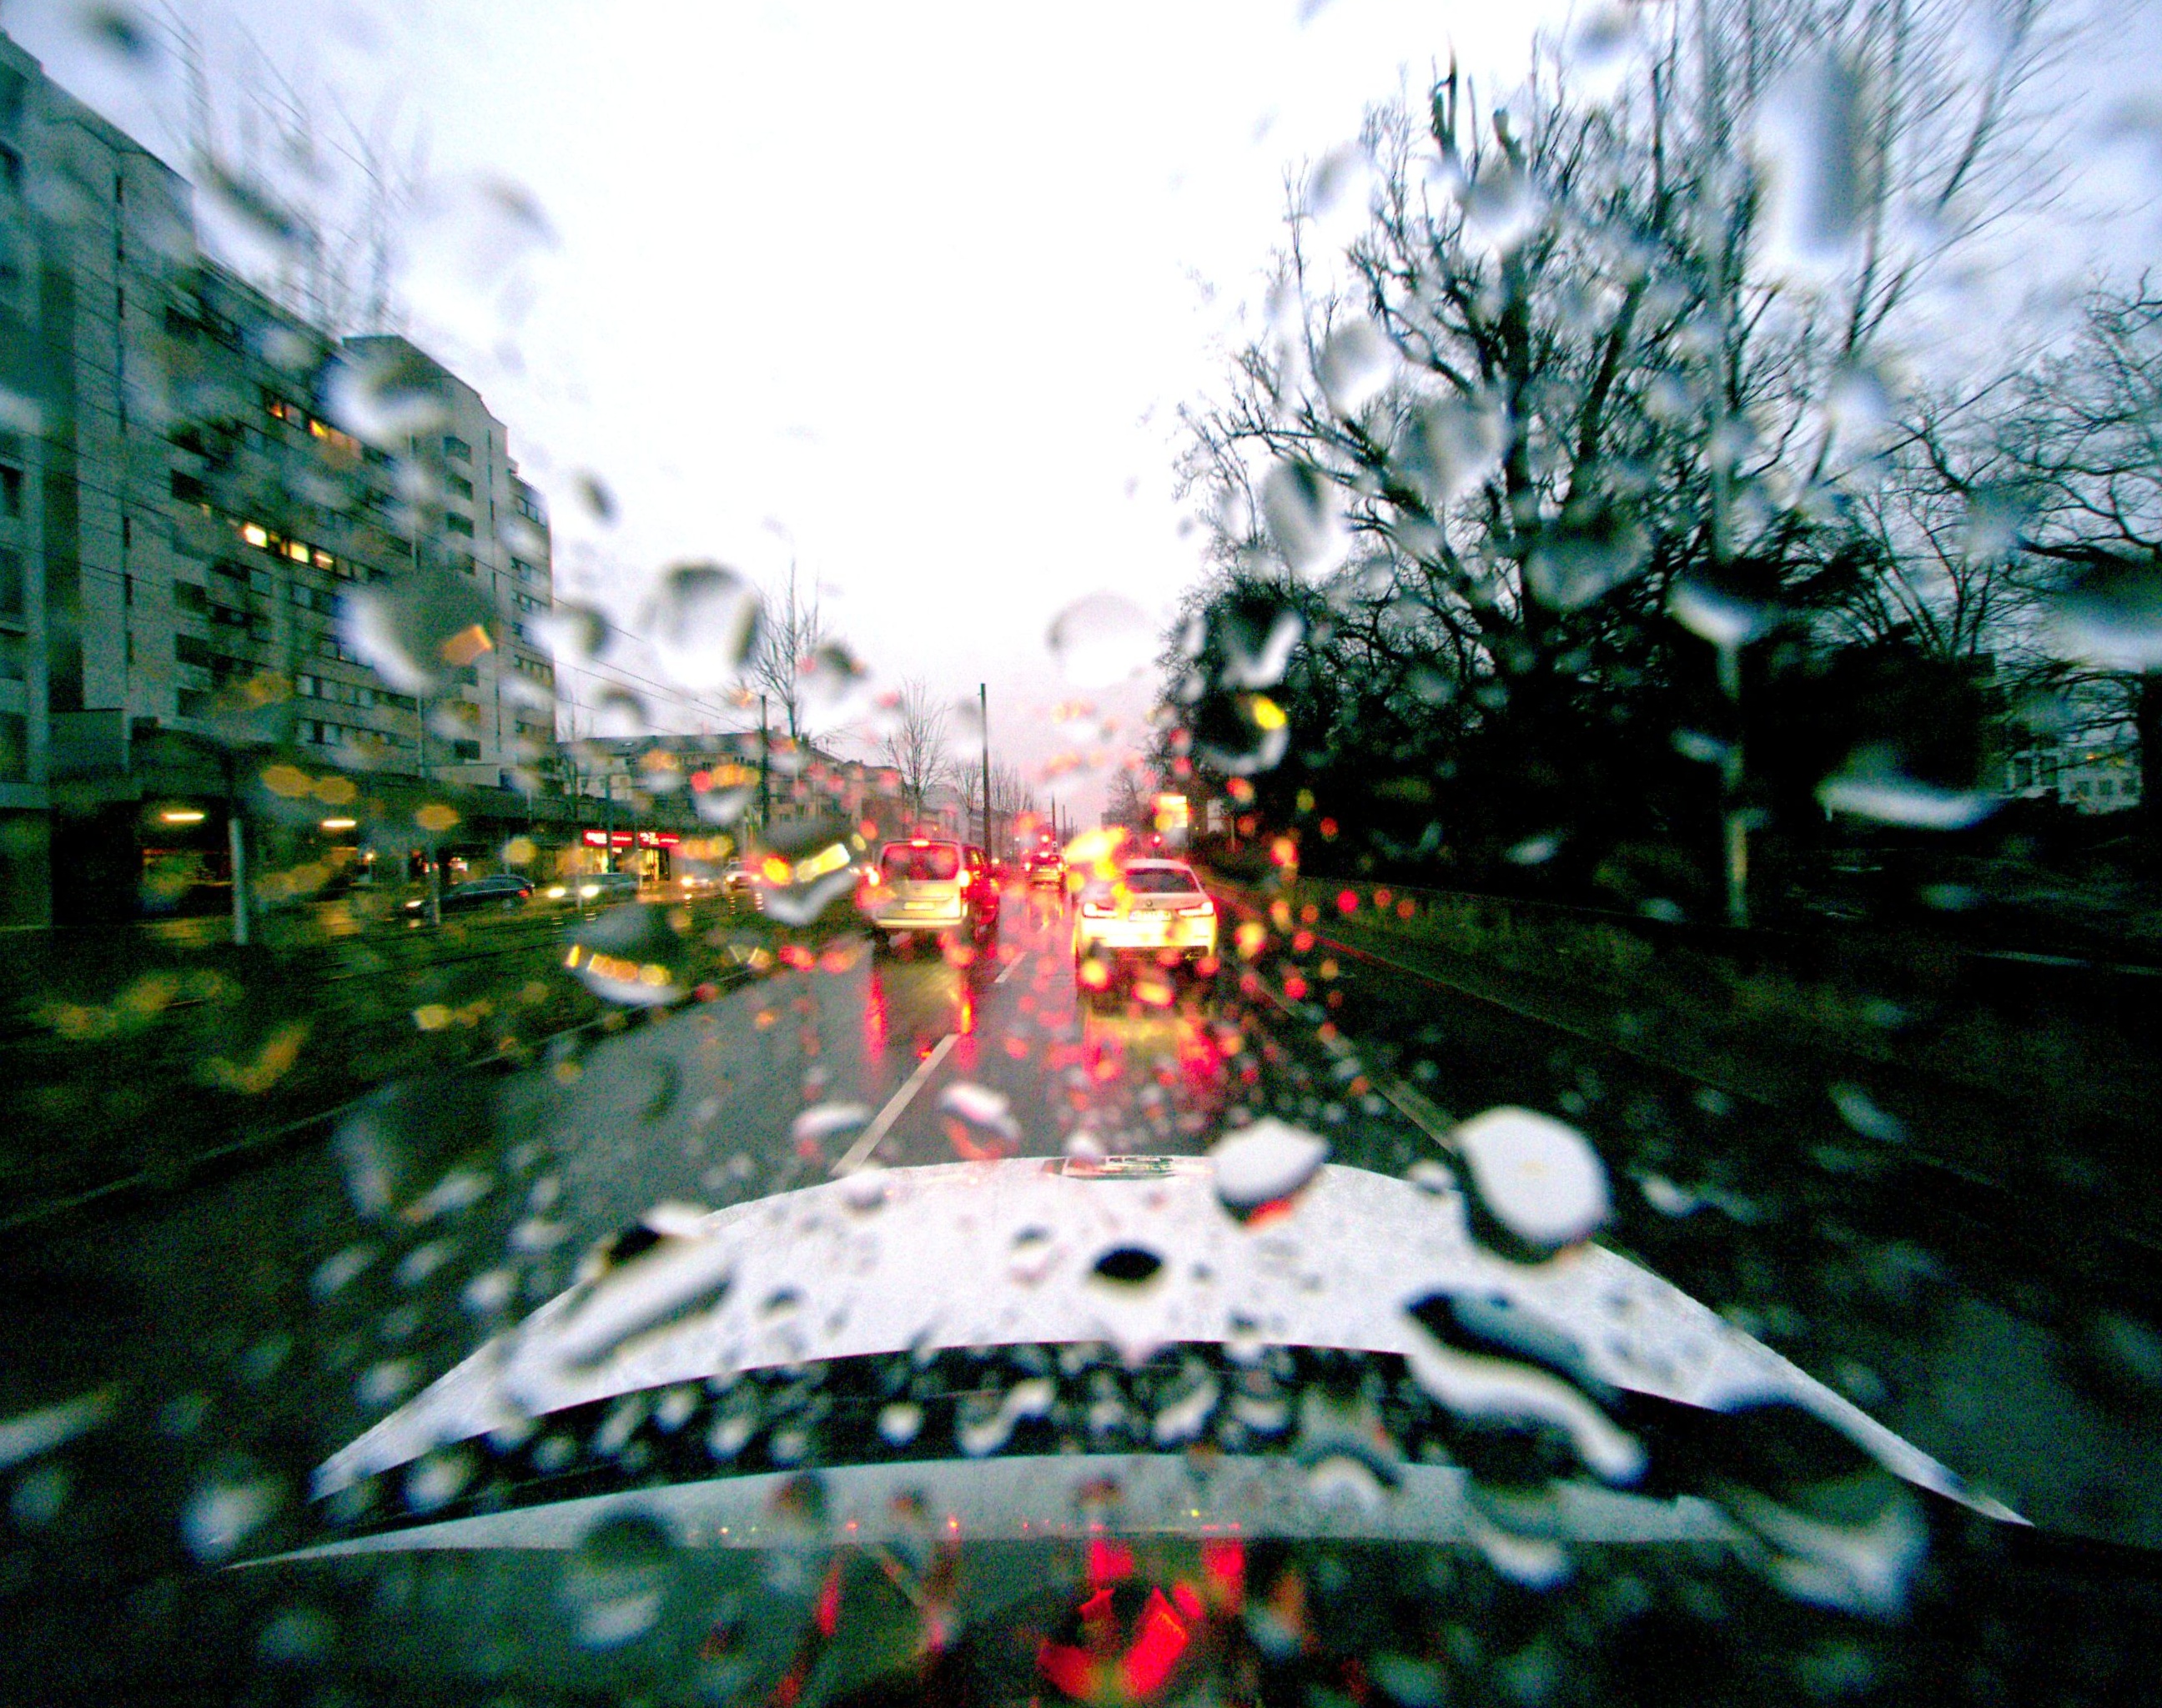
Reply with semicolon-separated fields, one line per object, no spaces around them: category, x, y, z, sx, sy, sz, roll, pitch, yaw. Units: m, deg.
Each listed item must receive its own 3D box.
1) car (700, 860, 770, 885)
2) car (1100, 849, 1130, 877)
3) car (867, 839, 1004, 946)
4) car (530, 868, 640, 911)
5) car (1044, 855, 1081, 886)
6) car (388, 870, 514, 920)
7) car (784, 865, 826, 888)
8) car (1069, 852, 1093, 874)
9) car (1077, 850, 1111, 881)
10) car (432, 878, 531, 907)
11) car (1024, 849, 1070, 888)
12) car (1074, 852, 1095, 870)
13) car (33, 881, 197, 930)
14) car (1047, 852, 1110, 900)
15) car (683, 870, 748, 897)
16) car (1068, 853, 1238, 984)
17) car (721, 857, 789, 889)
car;-30.017;1.586;70.821;5.193;1.912;1.975;-2;0;-44
car;2.107;0.551;50.868;1.800;1.646;4.002;-1;0;2
car;-2.580;0.632;15.521;1.787;1.736;4.536;0;0;0
car;-19.185;1.342;31.710;1.889;1.431;3.707;-2;0;1
car;-1.073;0.930;48.095;1.986;1.755;4.001;0;0;1
car;-27.121;1.731;35.175;1.706;1.885;3.951;-2;0;36
car;-23.810;1.882;70.344;1.889;1.813;4.532;-2;0;2
car;0.009;0.702;65.738;1.800;1.646;4.002;-1;0;2
car;0.748;0.610;45.436;1.800;1.646;4.002;-1;0;2
car;-30.936;1.953;42.188;4.015;1.387;1.916;1;-1;-34
car;-1.486;0.605;36.898;1.800;1.646;4.002;-1;0;2
car;0.330;0.615;76.674;1.800;1.646;4.002;-1;0;2
car;-38.693;2.039;32.691;4.347;1.695;1.727;-2;0;-1
car;-0.003;0.680;27.360;1.928;1.457;4.165;-1;0;2
car;-23.843;1.905;53.338;1.889;1.516;4.794;-2;0;2
car;0.920;0.763;11.735;1.992;1.508;4.165;-1;0;2
car;-19.367;1.111;48.667;1.889;1.719;5.119;-2;0;1
